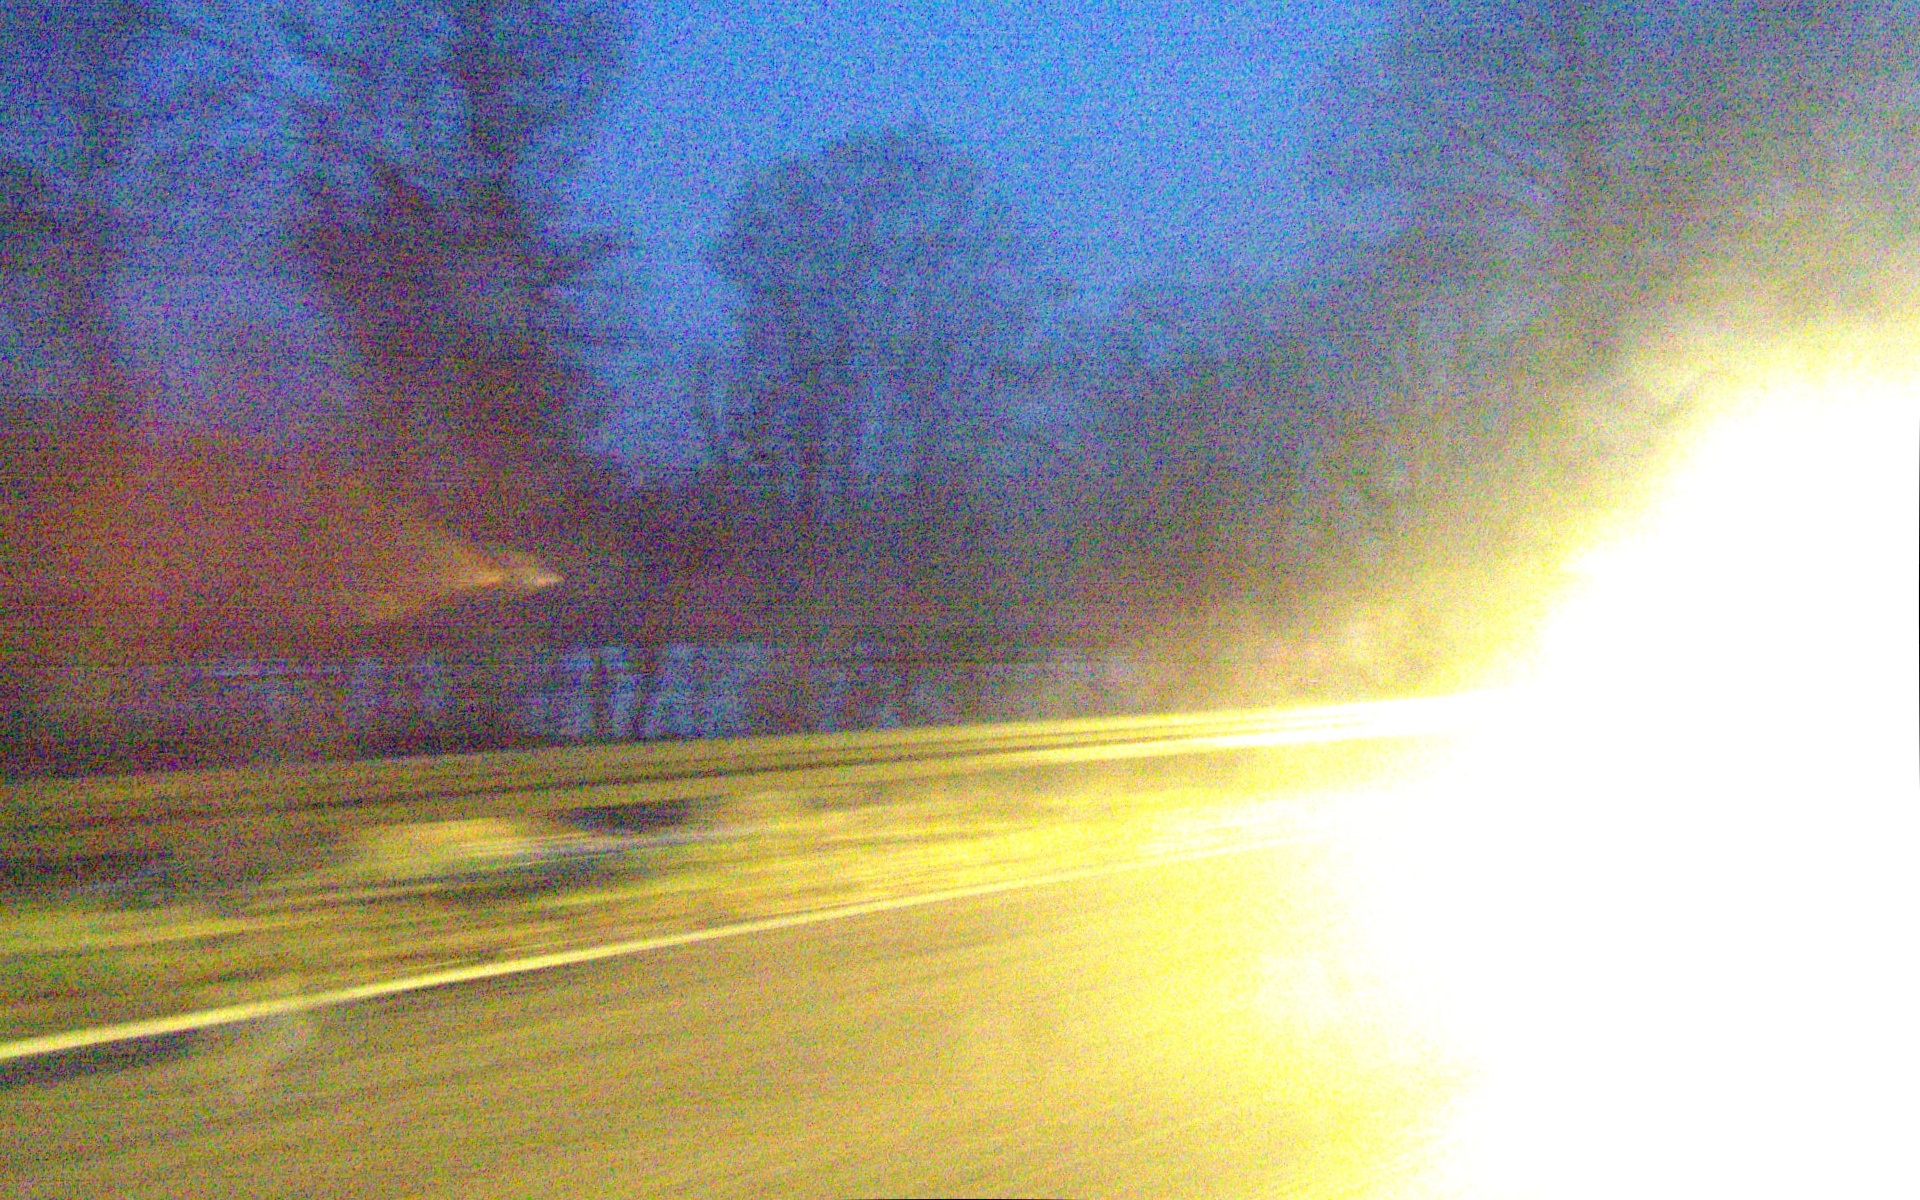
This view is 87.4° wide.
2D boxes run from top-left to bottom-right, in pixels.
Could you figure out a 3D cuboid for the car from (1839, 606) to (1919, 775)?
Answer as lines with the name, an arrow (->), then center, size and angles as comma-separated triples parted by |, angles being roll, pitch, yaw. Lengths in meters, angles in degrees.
car -> 10.332, 0.830, 9.868 | 3.446, 1.545, 1.556 | 1, -3, -31
